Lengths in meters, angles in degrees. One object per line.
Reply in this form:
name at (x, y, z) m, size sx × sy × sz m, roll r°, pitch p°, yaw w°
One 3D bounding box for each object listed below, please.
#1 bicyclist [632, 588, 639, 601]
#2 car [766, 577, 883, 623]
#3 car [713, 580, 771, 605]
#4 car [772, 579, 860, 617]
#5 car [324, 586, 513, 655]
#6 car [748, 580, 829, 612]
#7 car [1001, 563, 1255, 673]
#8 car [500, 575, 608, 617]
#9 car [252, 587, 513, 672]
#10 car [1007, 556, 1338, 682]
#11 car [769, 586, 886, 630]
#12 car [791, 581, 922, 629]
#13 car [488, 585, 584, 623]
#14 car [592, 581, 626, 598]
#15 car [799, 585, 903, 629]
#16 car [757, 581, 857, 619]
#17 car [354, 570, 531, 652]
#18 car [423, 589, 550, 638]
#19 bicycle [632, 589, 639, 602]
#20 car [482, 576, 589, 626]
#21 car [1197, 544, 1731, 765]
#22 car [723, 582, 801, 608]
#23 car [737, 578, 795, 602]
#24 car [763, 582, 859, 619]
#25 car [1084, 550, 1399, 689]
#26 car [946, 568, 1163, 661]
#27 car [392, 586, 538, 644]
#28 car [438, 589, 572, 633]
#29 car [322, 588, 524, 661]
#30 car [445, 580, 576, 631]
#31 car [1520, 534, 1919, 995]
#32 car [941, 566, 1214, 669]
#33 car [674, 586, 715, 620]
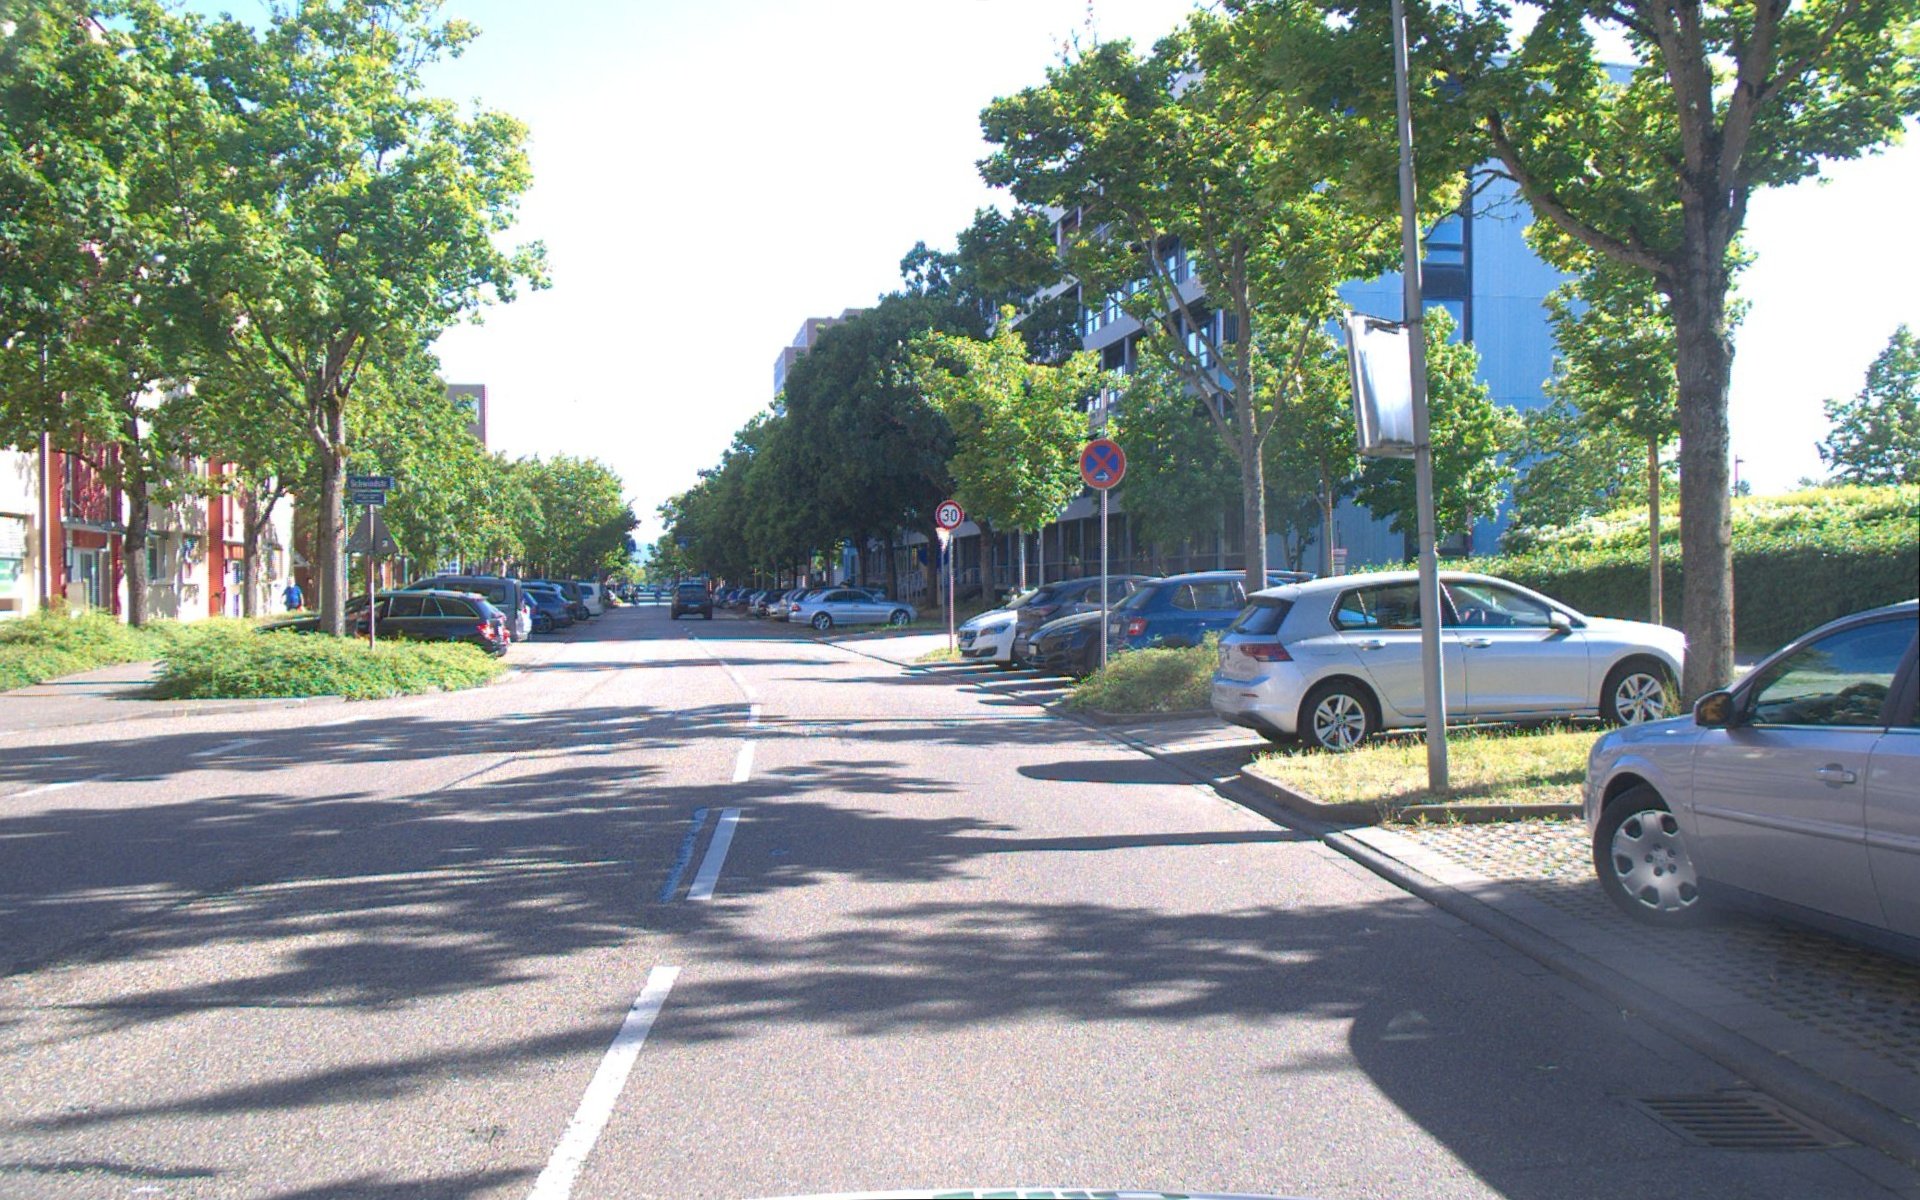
bicyclist at (-28.895, -0.474, 147.355) m, size 0.522 × 1.110 × 0.793 m, roll -1°, pitch 0°, yaw -8°
car at (-5.331, -0.010, 64.588) m, size 4.430 × 1.569 × 1.919 m, roll -2°, pitch 1°, yaw -8°
car at (-16.852, -0.583, 127.899) m, size 4.278 × 1.733 × 1.806 m, roll -3°, pitch 1°, yaw -14°
car at (-6.450, -0.101, 74.174) m, size 3.682 × 1.519 × 1.610 m, roll -3°, pitch 1°, yaw -15°
car at (-12.159, 0.453, 37.330) m, size 3.822 × 1.448 × 1.735 m, roll 1°, pitch 0°, yaw -11°
car at (-8.752, -0.208, 84.278) m, size 3.902 × 1.444 × 1.705 m, roll -2°, pitch 1°, yaw -13°
car at (2.755, 0.274, 27.432) m, size 3.806 × 1.541 × 1.746 m, roll -3°, pitch 0°, yaw -11°
car at (-20.495, -0.201, 83.679) m, size 5.164 × 2.001 × 1.937 m, roll 1°, pitch 0°, yaw -12°
car at (-10.431, 0.523, 30.132) m, size 4.182 × 1.448 × 1.736 m, roll 1°, pitch 0°, yaw -8°
car at (3.137, 0.265, 24.913) m, size 4.468 × 1.541 × 2.153 m, roll -3°, pitch 0°, yaw -11°
car at (-5.408, 0.308, 67.394) m, size 4.441 × 1.569 × 1.914 m, roll -3°, pitch 1°, yaw -16°
car at (-3.736, 0.155, 59.498) m, size 4.496 × 1.501 × 1.742 m, roll -3°, pitch 1°, yaw -11°
car at (-17.054, 0.169, 66.542) m, size 3.667 × 1.452 × 1.717 m, roll 1°, pitch 0°, yaw -17°
car at (-44.300, -1.275, 208.824) m, size 3.911 × 2.049 × 1.997 m, roll -1°, pitch 0°, yaw -7°
car at (-4.115, 0.241, 62.282) m, size 3.765 × 1.472 × 1.919 m, roll -2°, pitch 1°, yaw -8°
car at (-7.308, -0.023, 78.901) m, size 4.510 × 1.519 × 1.758 m, roll -3°, pitch 1°, yaw -12°
car at (-12.350, 0.262, 39.687) m, size 3.822 × 1.843 × 1.781 m, roll 1°, pitch 0°, yaw -11°
car at (-14.799, 0.418, 51.832) m, size 3.661 × 1.452 × 1.835 m, roll 1°, pitch 0°, yaw -12°
bicycle at (-28.891, -0.422, 147.340) m, size 0.522 × 1.091 × 1.297 m, roll -1°, pitch 0°, yaw -8°
car at (-18.895, 0.034, 73.869) m, size 4.405 × 2.126 × 2.078 m, roll 1°, pitch 0°, yaw -9°
car at (4.243, 0.428, 14.273) m, size 4.010 × 1.454 × 1.641 m, roll -5°, pitch 0°, yaw -4°
car at (-12.640, -0.307, 105.701) m, size 4.742 × 1.444 × 2.025 m, roll -3°, pitch 1°, yaw -13°
car at (-13.403, -0.692, 114.086) m, size 3.878 × 1.541 × 1.808 m, roll -2°, pitch 1°, yaw -10°
car at (-6.903, 0.025, 76.493) m, size 4.211 × 1.519 × 1.998 m, roll -2°, pitch 1°, yaw -13°
car at (3.732, 0.240, 22.239) m, size 3.736 × 1.473 × 1.741 m, roll -5°, pitch 0°, yaw -9°
car at (1.844, 0.272, 32.513) m, size 3.886 × 1.541 × 1.693 m, roll -3°, pitch 0°, yaw -17°
car at (-13.334, 0.393, 44.733) m, size 3.664 × 1.472 × 1.869 m, roll 1°, pitch 0°, yaw -15°
car at (-15.585, 0.371, 56.899) m, size 4.327 × 1.452 × 1.767 m, roll 1°, pitch 0°, yaw -13°
car at (-11.249, 0.507, 34.868) m, size 3.822 × 1.448 × 1.735 m, roll 1°, pitch 0°, yaw -11°
car at (-16.108, 0.190, 59.455) m, size 4.238 × 1.747 × 1.960 m, roll 1°, pitch 0°, yaw -6°
car at (3.989, 0.502, 5.996) m, size 1.775 × 1.519 × 4.615 m, roll -3°, pitch 1°, yaw -8°
car at (2.111, 0.291, 29.911) m, size 4.478 × 1.541 × 1.973 m, roll -3°, pitch 0°, yaw -17°
car at (-13.623, 0.143, 84.712) m, size 1.958 × 1.668 × 3.989 m, roll 1°, pitch 0°, yaw -11°
